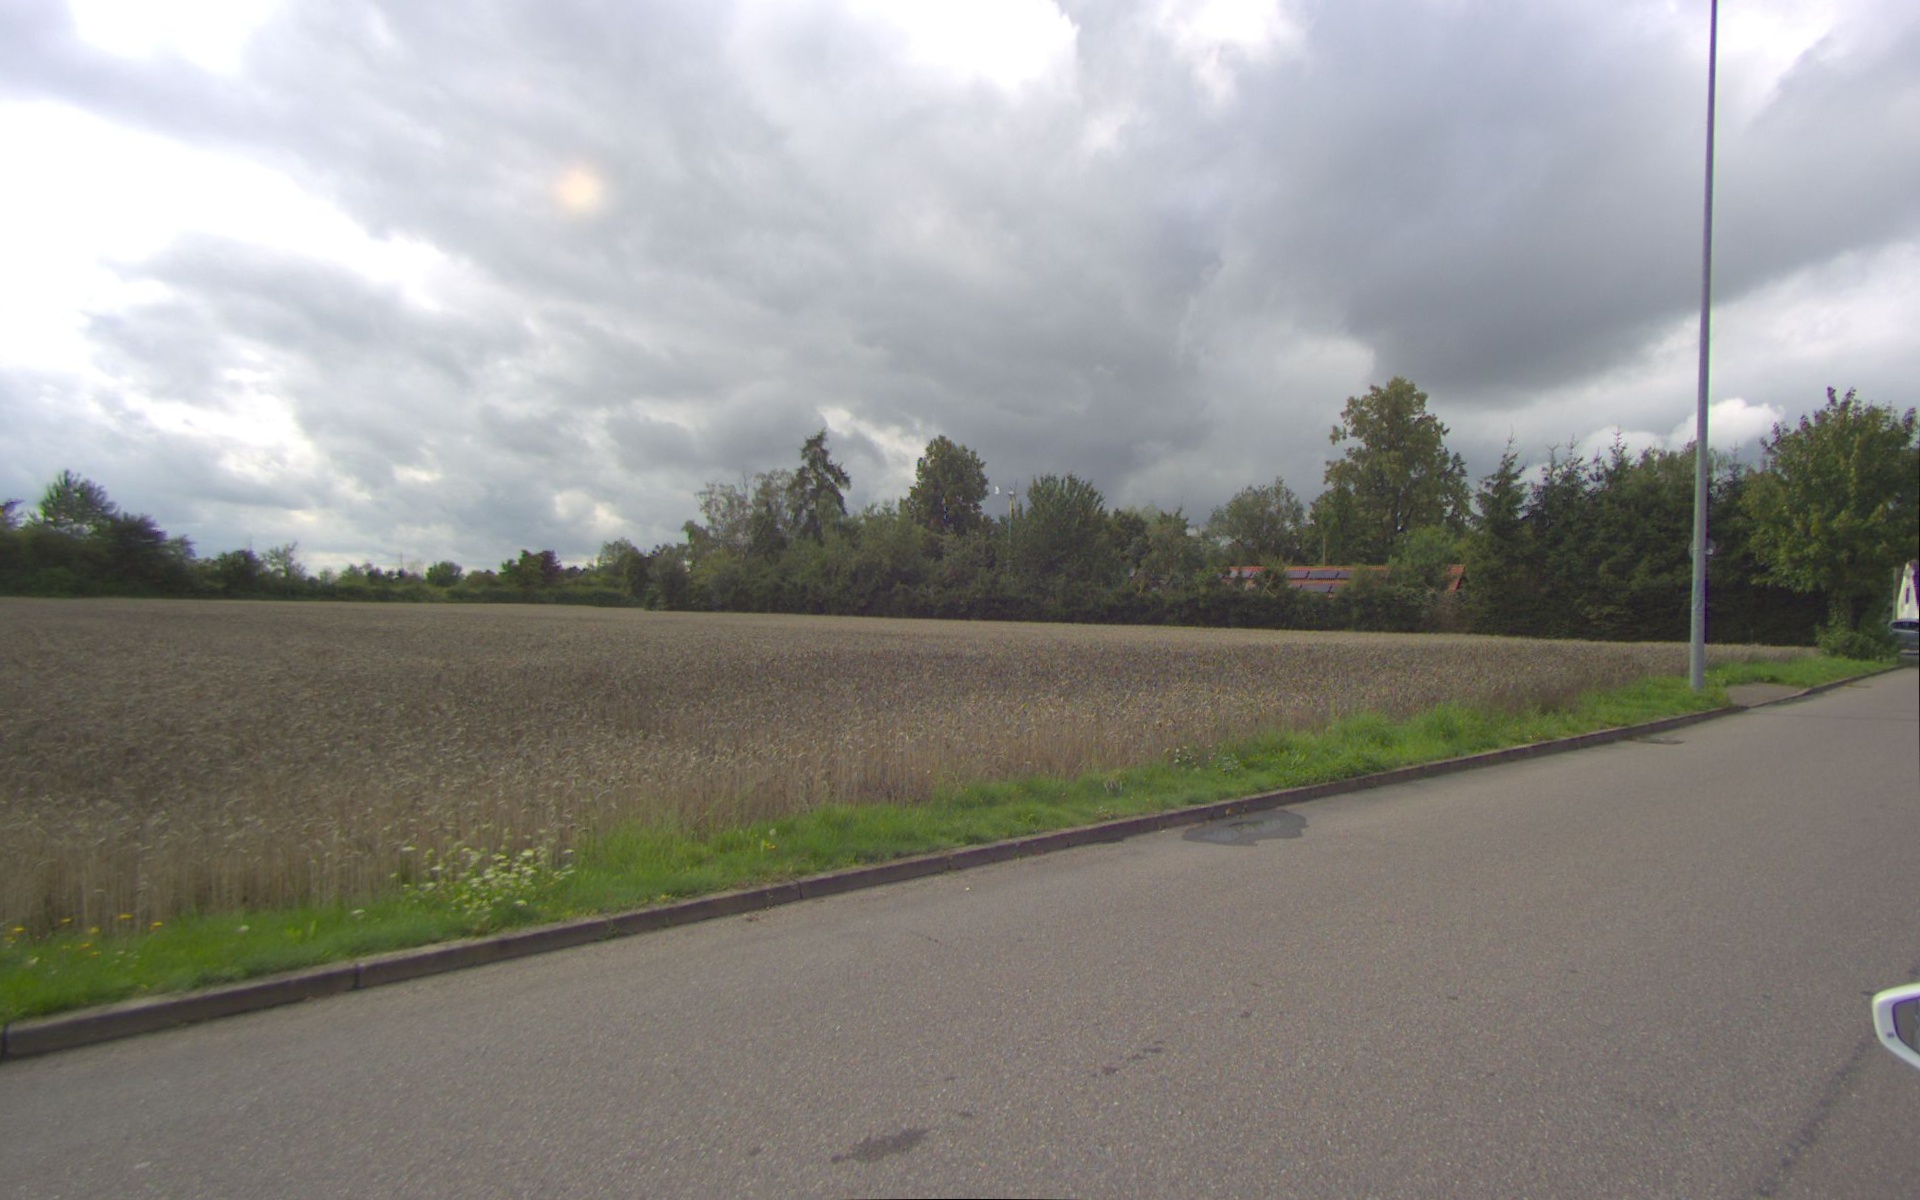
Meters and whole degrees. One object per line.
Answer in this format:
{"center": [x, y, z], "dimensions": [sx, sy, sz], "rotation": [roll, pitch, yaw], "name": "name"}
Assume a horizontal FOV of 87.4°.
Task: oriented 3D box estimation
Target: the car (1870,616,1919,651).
{"center": [43.614, 1.522, 45.128], "dimensions": [1.769, 1.536, 3.989], "rotation": [1, 0, -2], "name": "car"}
